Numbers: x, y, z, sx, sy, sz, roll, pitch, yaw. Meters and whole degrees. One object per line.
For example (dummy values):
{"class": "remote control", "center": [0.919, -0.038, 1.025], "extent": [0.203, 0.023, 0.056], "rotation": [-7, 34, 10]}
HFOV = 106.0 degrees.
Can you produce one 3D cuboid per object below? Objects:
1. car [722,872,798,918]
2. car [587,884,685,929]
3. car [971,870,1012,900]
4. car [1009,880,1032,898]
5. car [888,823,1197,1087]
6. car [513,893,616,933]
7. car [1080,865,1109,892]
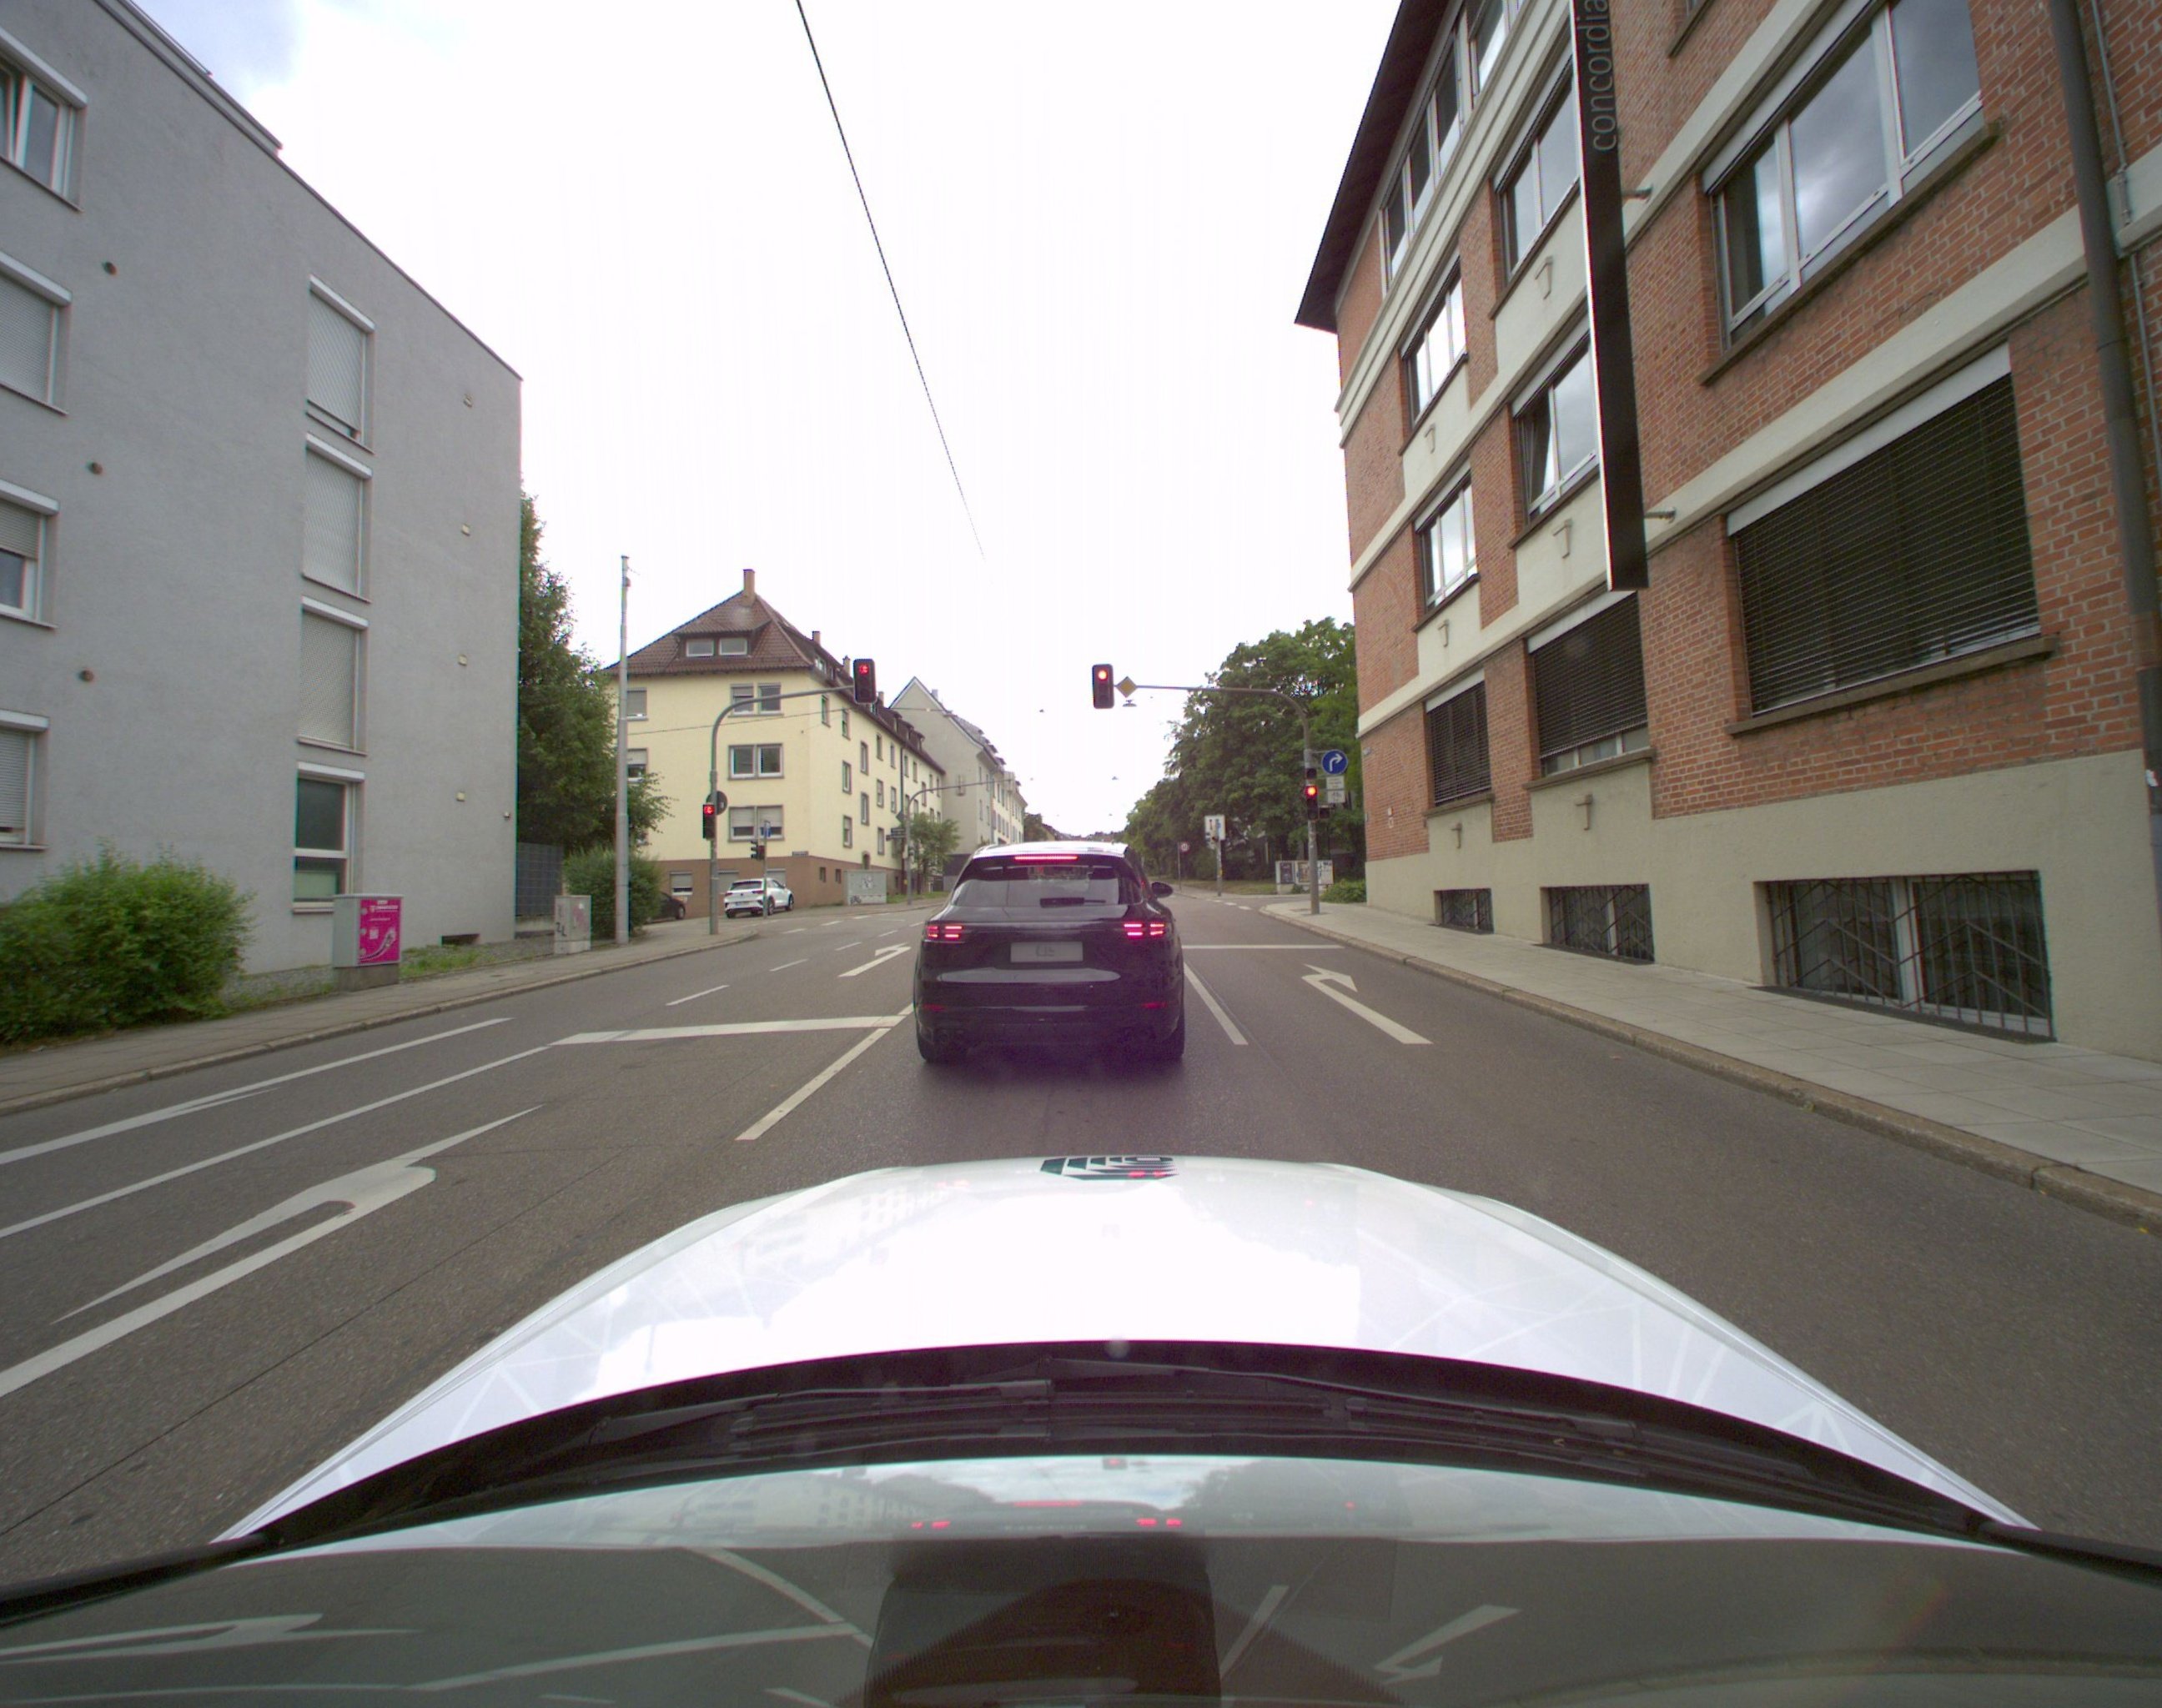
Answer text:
{"class": "car", "center": [-13.449, 1.684, 34.369], "extent": [1.666, 1.662, 3.996], "rotation": [-4, 0, -3]}
{"class": "car", "center": [-18.621, 2.160, 34.306], "extent": [1.664, 1.546, 4.103], "rotation": [-5, -1, 2]}
{"class": "car", "center": [-5.174, 1.777, 47.416], "extent": [1.657, 1.519, 3.742], "rotation": [-5, -1, 2]}
{"class": "car", "center": [-5.182, 2.992, 69.886], "extent": [1.665, 1.362, 3.998], "rotation": [-1, -1, -1]}
{"class": "car", "center": [-0.189, 0.670, 7.267], "extent": [1.986, 1.697, 4.001], "rotation": [0, -1, 2]}
{"class": "car", "center": [-21.533, 2.434, 34.132], "extent": [1.663, 1.362, 4.001], "rotation": [-1, -1, 2]}
{"class": "car", "center": [0.812, 1.442, 49.441], "extent": [1.682, 1.552, 3.889], "rotation": [0, -1, 1]}
